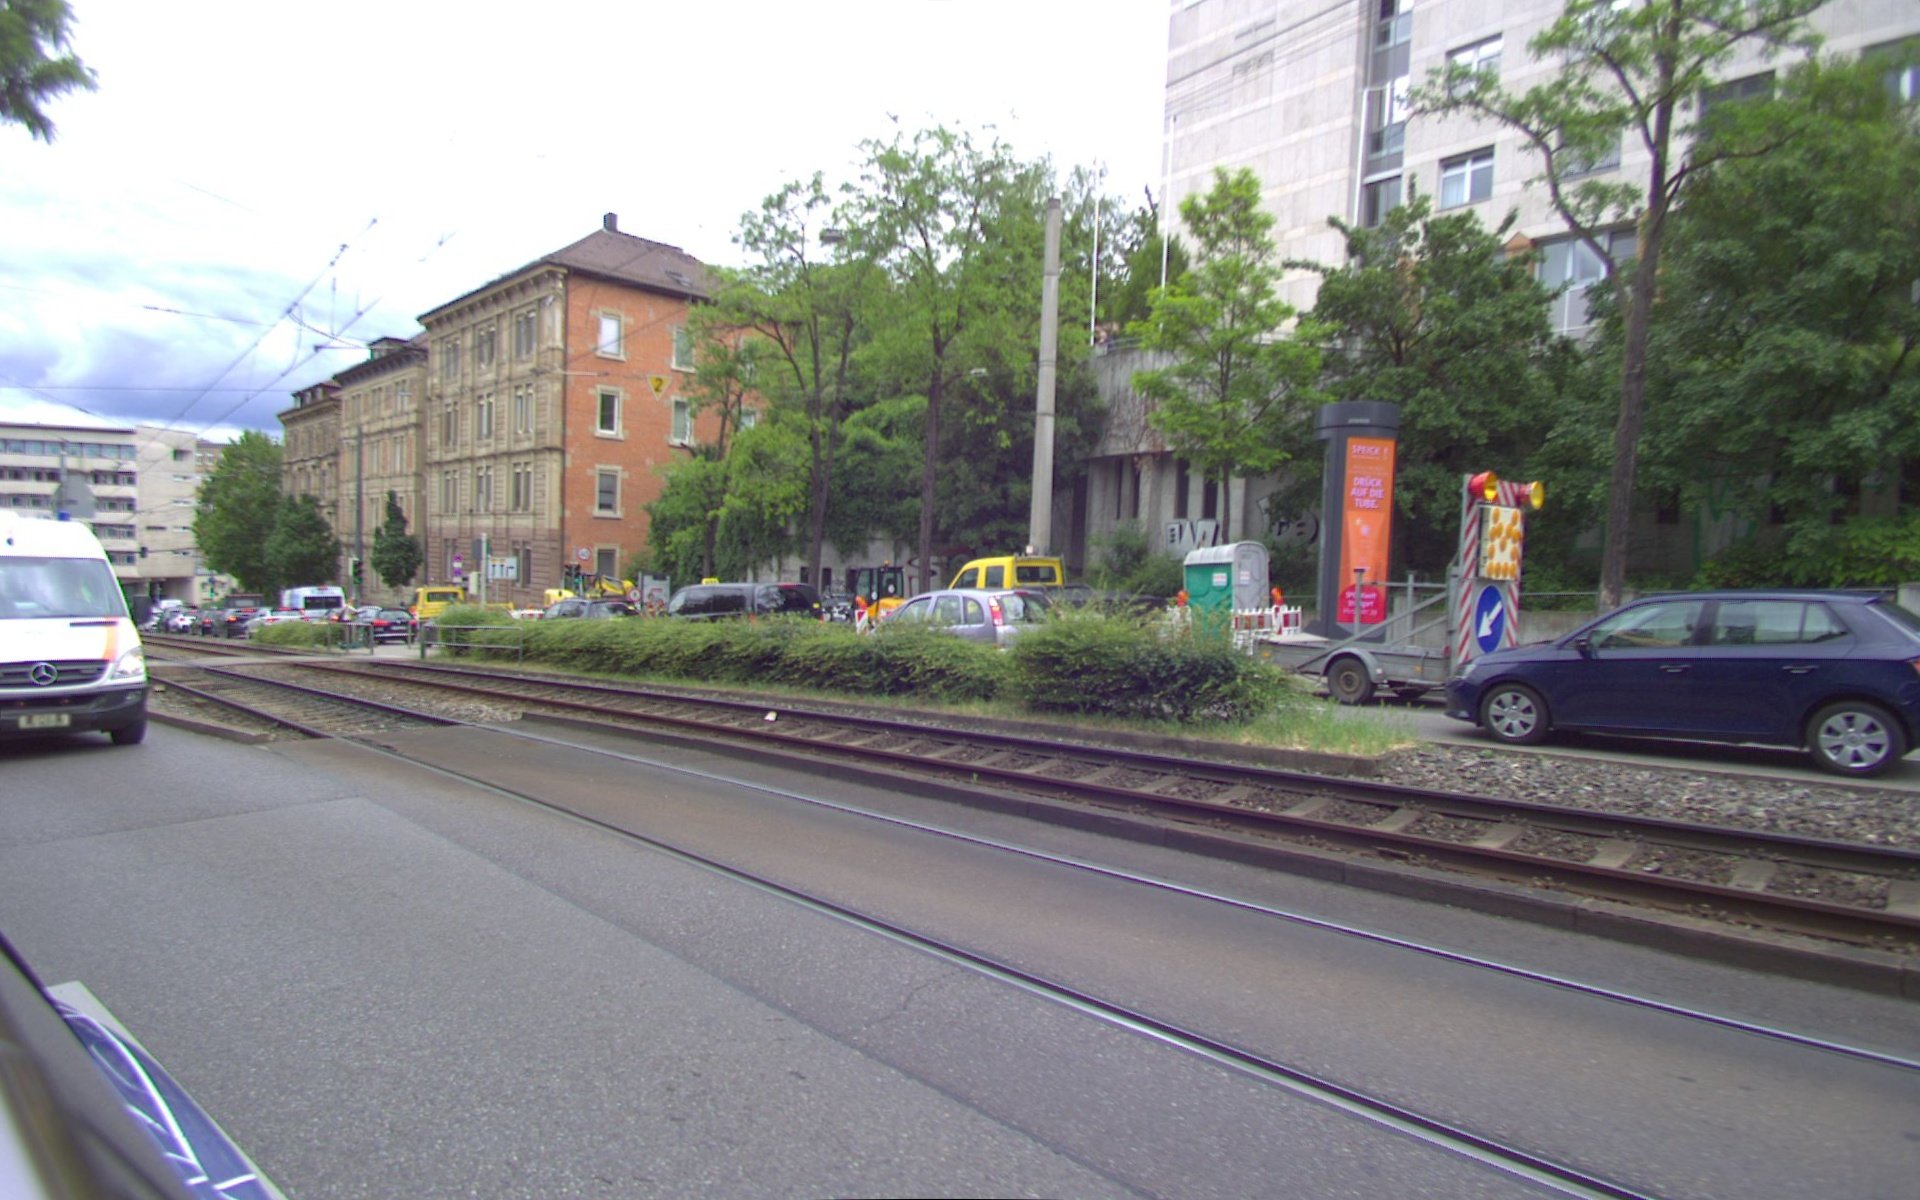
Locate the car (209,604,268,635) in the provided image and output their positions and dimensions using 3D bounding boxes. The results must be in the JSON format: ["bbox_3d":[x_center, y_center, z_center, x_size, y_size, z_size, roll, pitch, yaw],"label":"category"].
[{"bbox_3d":[-36.238,0.969,50.791,1.845,1.531,3.953,1,-1,-44],"label":"car"}]

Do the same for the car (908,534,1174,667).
[{"bbox_3d":[1.619,0.049,23.023,2.130,2.613,6.344,1,-1,-41],"label":"car"}]

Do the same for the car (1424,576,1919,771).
[{"bbox_3d":[6.597,0.557,9.066,1.745,1.418,4.087,1,-1,-42],"label":"car"}]

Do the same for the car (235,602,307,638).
[{"bbox_3d":[-31.632,0.922,46.407,3.996,1.579,1.686,-1,-1,40],"label":"car"}]

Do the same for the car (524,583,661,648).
[{"bbox_3d":[-10.154,0.418,27.736,1.969,1.617,4.625,1,-1,-42],"label":"car"}]

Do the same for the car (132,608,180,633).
[{"bbox_3d":[-54.523,1.390,68.609,4.000,1.630,1.972,-1,0,43],"label":"car"}]

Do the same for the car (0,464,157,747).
[{"bbox_3d":[-11.330,0.087,11.718,5.848,2.720,2.013,-1,0,39],"label":"car"}]

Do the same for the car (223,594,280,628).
[{"bbox_3d":[-42.321,0.681,60.434,2.287,1.954,3.439,1,-1,-43],"label":"car"}]

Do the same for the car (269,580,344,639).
[{"bbox_3d":[-33.551,0.493,51.907,4.785,2.844,2.184,-1,-1,44],"label":"car"}]

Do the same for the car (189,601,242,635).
[{"bbox_3d":[-40.231,0.973,54.635,1.814,1.763,4.004,1,-1,-43],"label":"car"}]

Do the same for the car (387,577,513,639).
[{"bbox_3d":[-21.792,0.325,43.053,6.750,2.454,2.415,0,0,41],"label":"car"}]

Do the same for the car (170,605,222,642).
[{"bbox_3d":[-44.628,1.357,59.085,1.970,2.060,4.004,1,-1,-43],"label":"car"}]

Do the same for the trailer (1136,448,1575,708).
[{"bbox_3d":[5.319,-0.264,14.498,1.993,2.995,5.601,-2,1,-38],"label":"trailer"}]

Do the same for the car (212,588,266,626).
[{"bbox_3d":[-44.921,0.447,63.035,2.210,2.305,4.004,1,-1,-43],"label":"car"}]

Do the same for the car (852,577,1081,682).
[{"bbox_3d":[-0.007,0.431,15.991,1.638,1.454,3.746,1,-1,-39],"label":"car"}]

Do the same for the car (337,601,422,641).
[{"bbox_3d":[-22.682,0.796,39.513,3.999,1.473,1.759,-1,-1,42],"label":"car"}]

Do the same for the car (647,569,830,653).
[{"bbox_3d":[-4.888,0.245,21.864,1.968,1.617,4.617,1,-1,-40],"label":"car"}]

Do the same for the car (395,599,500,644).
[{"bbox_3d":[-18.011,0.745,35.451,1.860,1.446,4.848,3,-2,-44],"label":"car"}]

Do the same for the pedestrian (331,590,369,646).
[{"bbox_3d":[-20.328,0.613,33.739,0.788,1.831,0.736,0,-2,22],"label":"pedestrian"}]

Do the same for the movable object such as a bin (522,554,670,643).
[{"bbox_3d":[-15.790,0.000,43.726,6.532,3.575,2.724,-1,-1,34],"label":"movable object such as a bin"}]

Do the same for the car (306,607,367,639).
[{"bbox_3d":[-29.760,1.101,48.293,3.566,1.465,1.626,-1,-1,44],"label":"car"}]

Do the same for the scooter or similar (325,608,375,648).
[{"bbox_3d":[-20.124,0.911,33.425,0.528,1.306,1.491,0,-1,14],"label":"scooter or similar"}]

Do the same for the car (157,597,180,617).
[{"bbox_3d":[-76.404,0.687,97.656,1.675,1.824,4.007,0,0,-39],"label":"car"}]

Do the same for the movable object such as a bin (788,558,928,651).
[{"bbox_3d":[-3.009,0.125,29.242,1.910,2.486,4.103,-2,0,-42],"label":"movable object such as a bin"}]
